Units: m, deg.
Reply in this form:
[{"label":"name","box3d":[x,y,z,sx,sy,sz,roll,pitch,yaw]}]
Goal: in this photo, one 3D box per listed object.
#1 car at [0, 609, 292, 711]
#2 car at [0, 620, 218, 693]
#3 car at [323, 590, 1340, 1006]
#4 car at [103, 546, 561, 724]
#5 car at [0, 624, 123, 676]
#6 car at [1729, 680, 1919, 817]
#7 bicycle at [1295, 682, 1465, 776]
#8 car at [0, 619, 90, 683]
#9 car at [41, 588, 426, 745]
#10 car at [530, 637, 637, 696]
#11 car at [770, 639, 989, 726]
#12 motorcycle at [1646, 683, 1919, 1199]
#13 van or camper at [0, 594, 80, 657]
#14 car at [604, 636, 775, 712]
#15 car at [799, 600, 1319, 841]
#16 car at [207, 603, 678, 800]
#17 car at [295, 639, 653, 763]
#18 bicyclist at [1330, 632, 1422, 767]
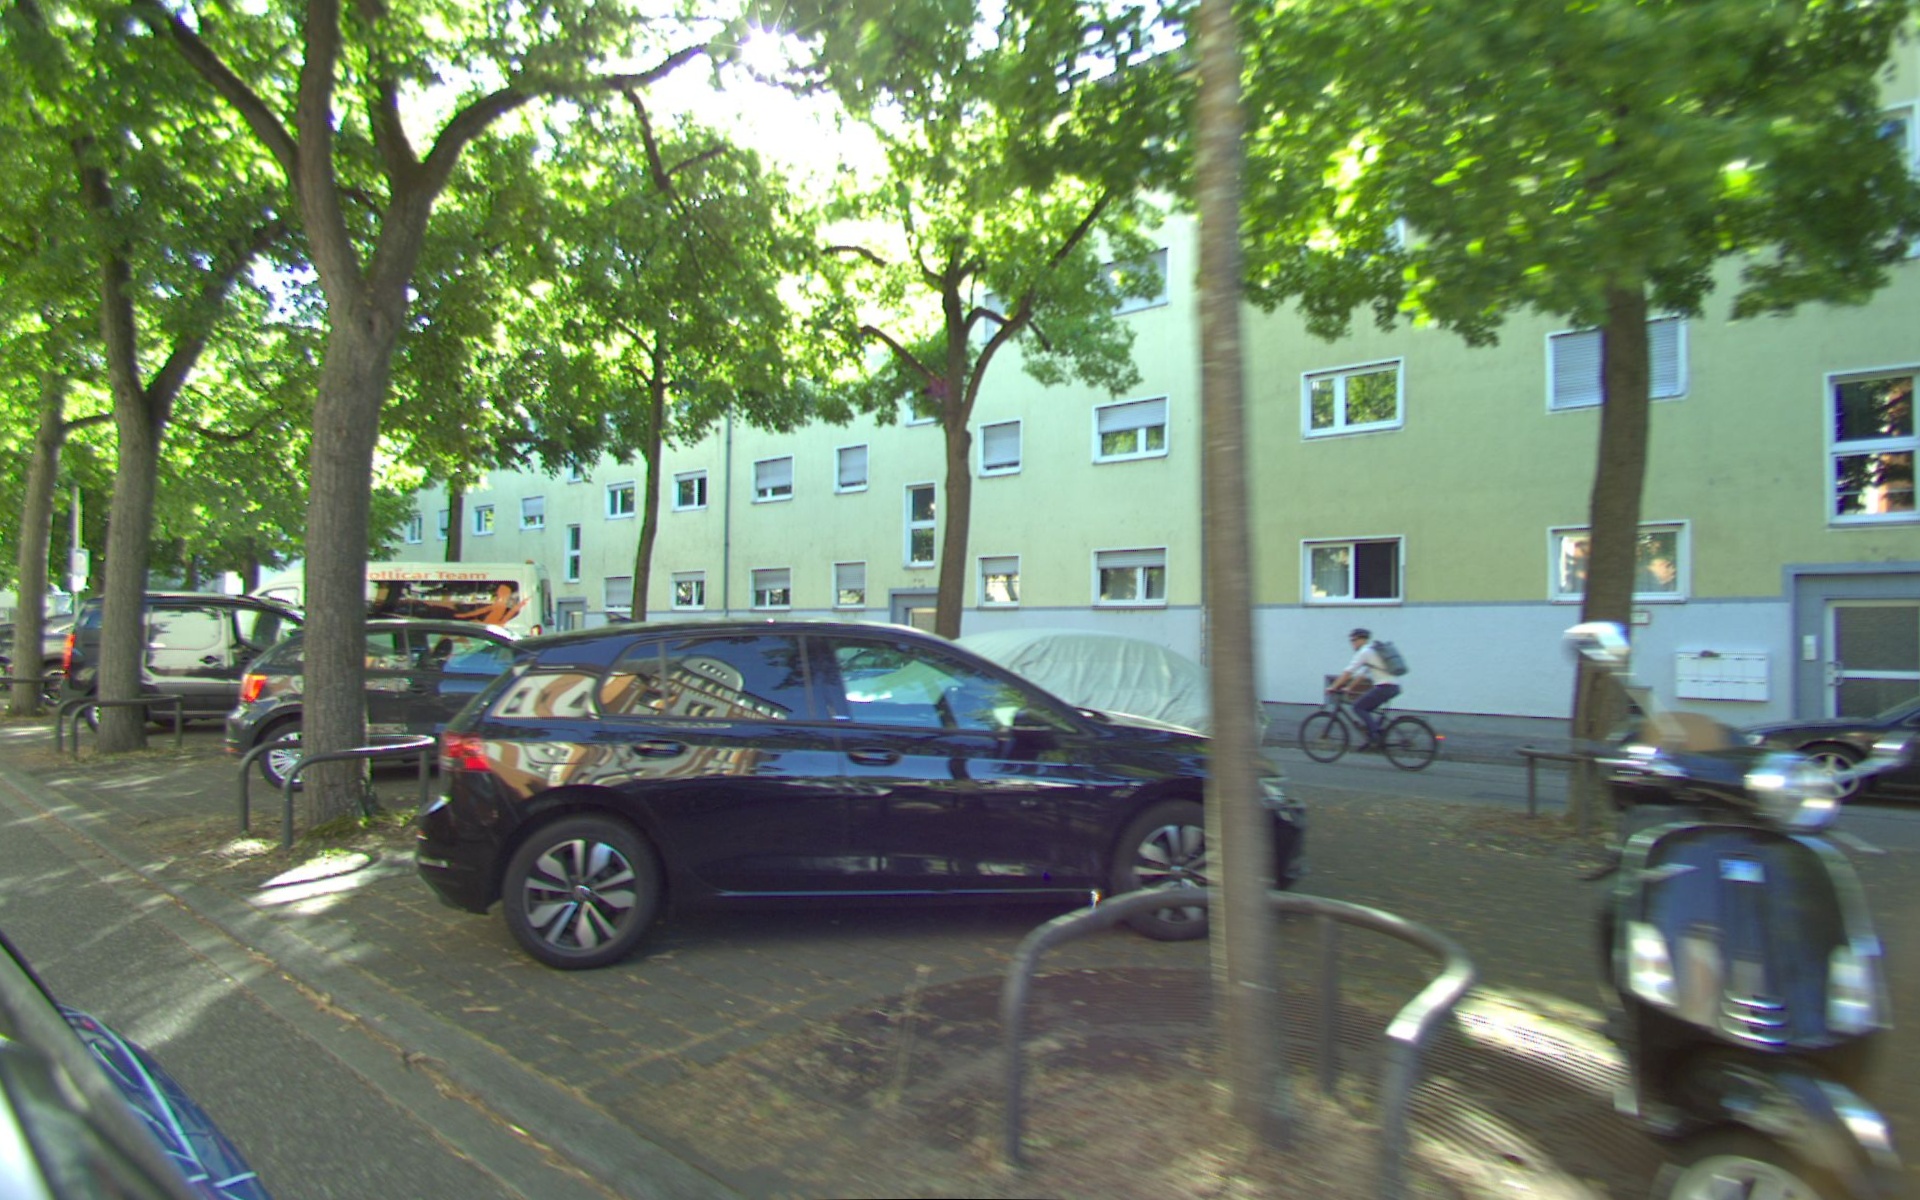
[{"label":"car","box3d":[-14.670,1.019,18.157,4.203,1.654,1.660,0,-1,-18]},{"label":"car","box3d":[-18.993,1.202,22.191,4.038,1.492,1.737,1,-1,-19]},{"label":"car","box3d":[-0.507,0.808,5.039,4.087,1.566,1.836,1,-2,-9]},{"label":"car","box3d":[-10.077,0.655,16.982,5.982,2.643,2.462,2,-3,-15]},{"label":"car","box3d":[-28.455,1.502,30.574,4.551,1.497,1.766,0,-1,-15]},{"label":"car","box3d":[10.408,1.571,10.625,3.638,1.331,1.569,-1,-5,40]},{"label":"bicycle","box3d":[5.313,1.598,12.871,1.911,1.042,0.594,-1,-3,37]},{"label":"car","box3d":[-25.279,1.321,26.336,3.630,1.608,1.778,0,-1,-25]},{"label":"car","box3d":[-9.542,0.857,13.678,3.786,1.903,1.849,1,-3,-15]},{"label":"car","box3d":[-10.905,1.871,29.242,3.180,1.571,1.460,-2,-1,39]},{"label":"car","box3d":[-1.748,1.616,20.944,4.587,1.528,1.754,-2,-1,40]},{"label":"motorcycle","box3d":[2.034,0.826,2.473,0.517,1.180,1.921,-1,-3,36]},{"label":"van or camper","box3d":[-44.382,1.166,45.935,6.197,2.846,2.415,0,-1,-21]},{"label":"car","box3d":[-6.810,1.776,25.223,4.552,1.736,1.724,-2,-4,39]},{"label":"car","box3d":[0.862,0.846,8.767,4.031,1.477,1.873,-3,1,-25]},{"label":"car","box3d":[-4.674,0.863,9.635,3.673,1.594,1.641,1,-2,-21]},{"label":"car","box3d":[-5.459,1.093,11.772,3.506,1.257,1.663,1,-2,-20]},{"label":"bicyclist","box3d":[5.293,1.227,12.869,0.927,1.634,0.708,-1,-3,38]}]
